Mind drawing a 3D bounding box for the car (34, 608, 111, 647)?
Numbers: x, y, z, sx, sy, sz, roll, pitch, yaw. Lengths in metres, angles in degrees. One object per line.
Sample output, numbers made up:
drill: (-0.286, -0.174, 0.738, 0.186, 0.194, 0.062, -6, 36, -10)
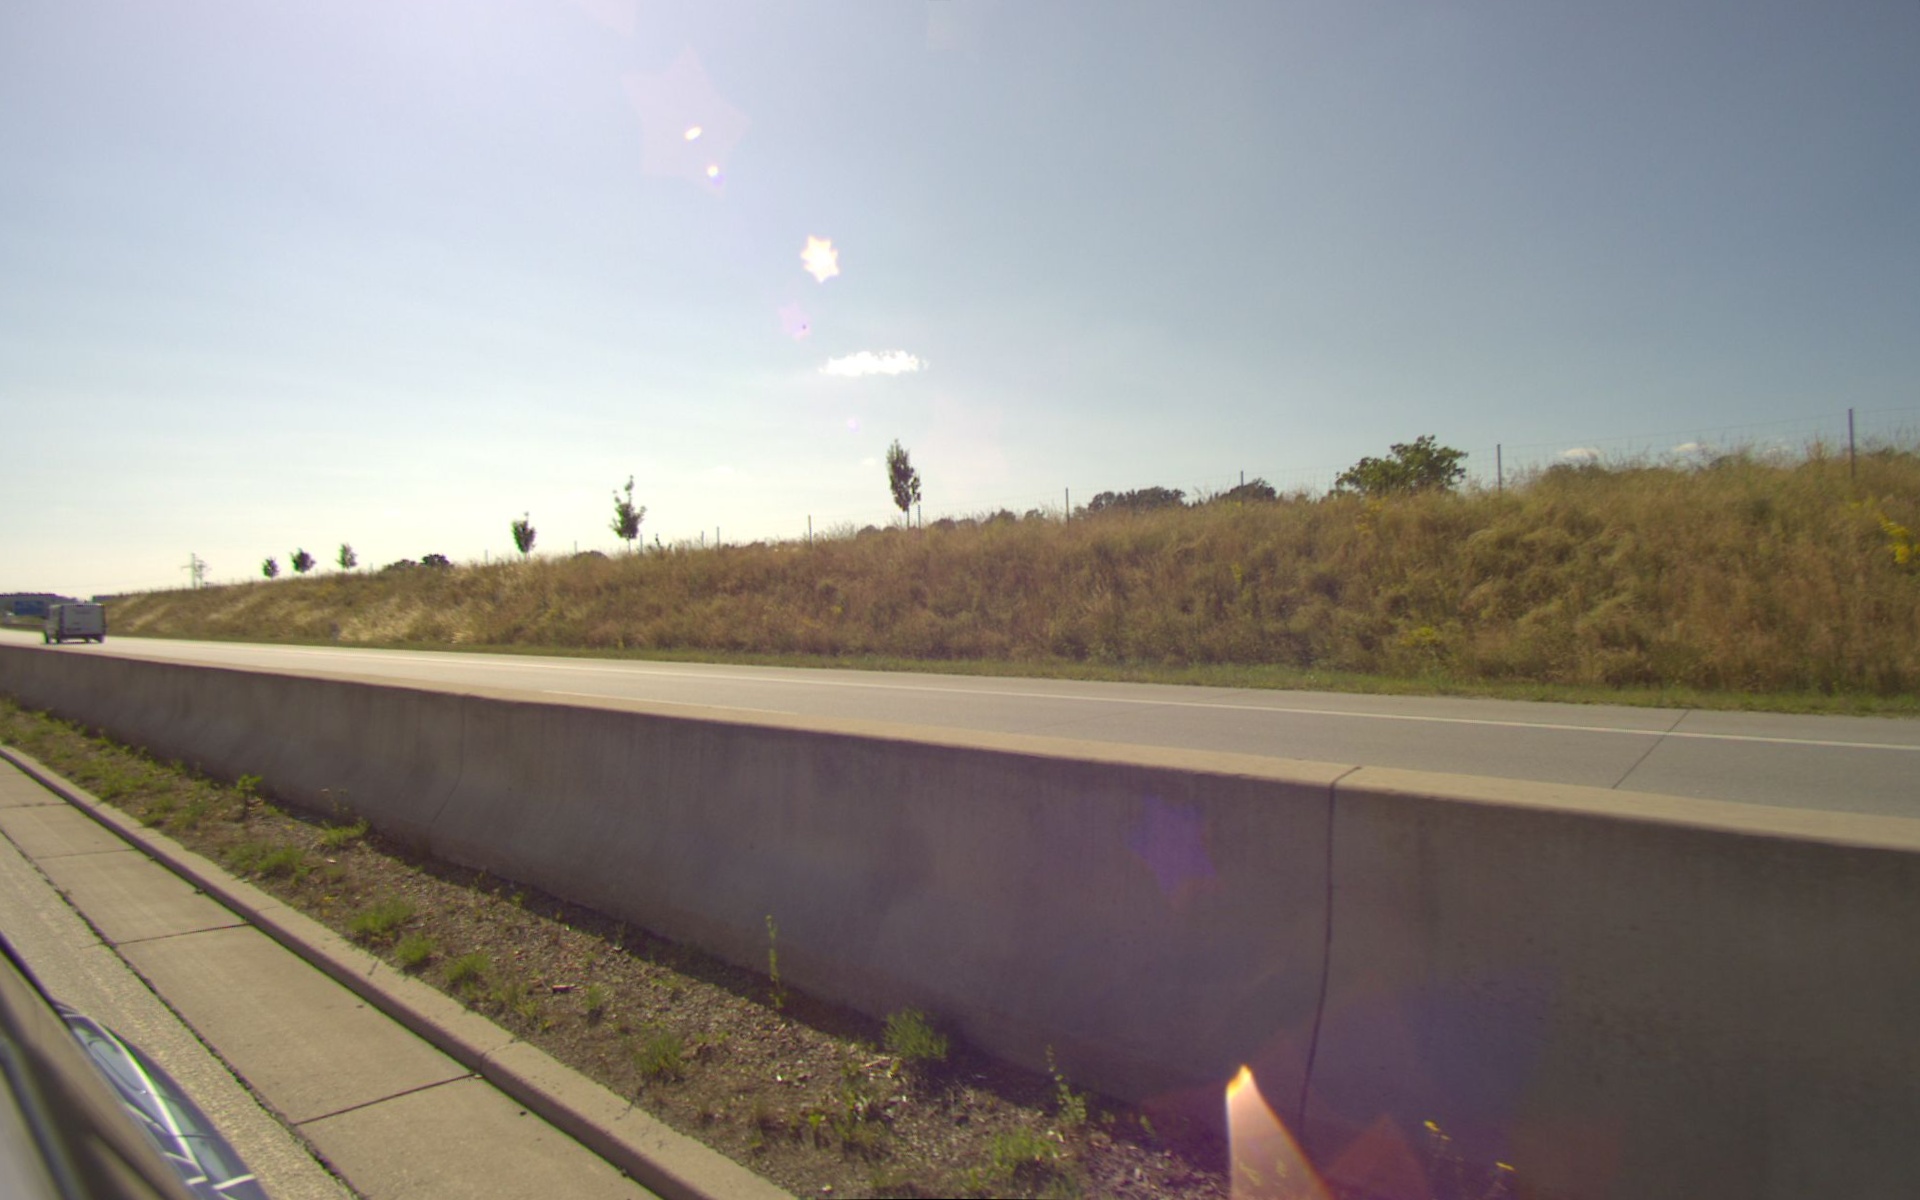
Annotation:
car: (-45.760, 1.394, 52.148, 5.792, 1.949, 2.211, -1, -1, 41)
